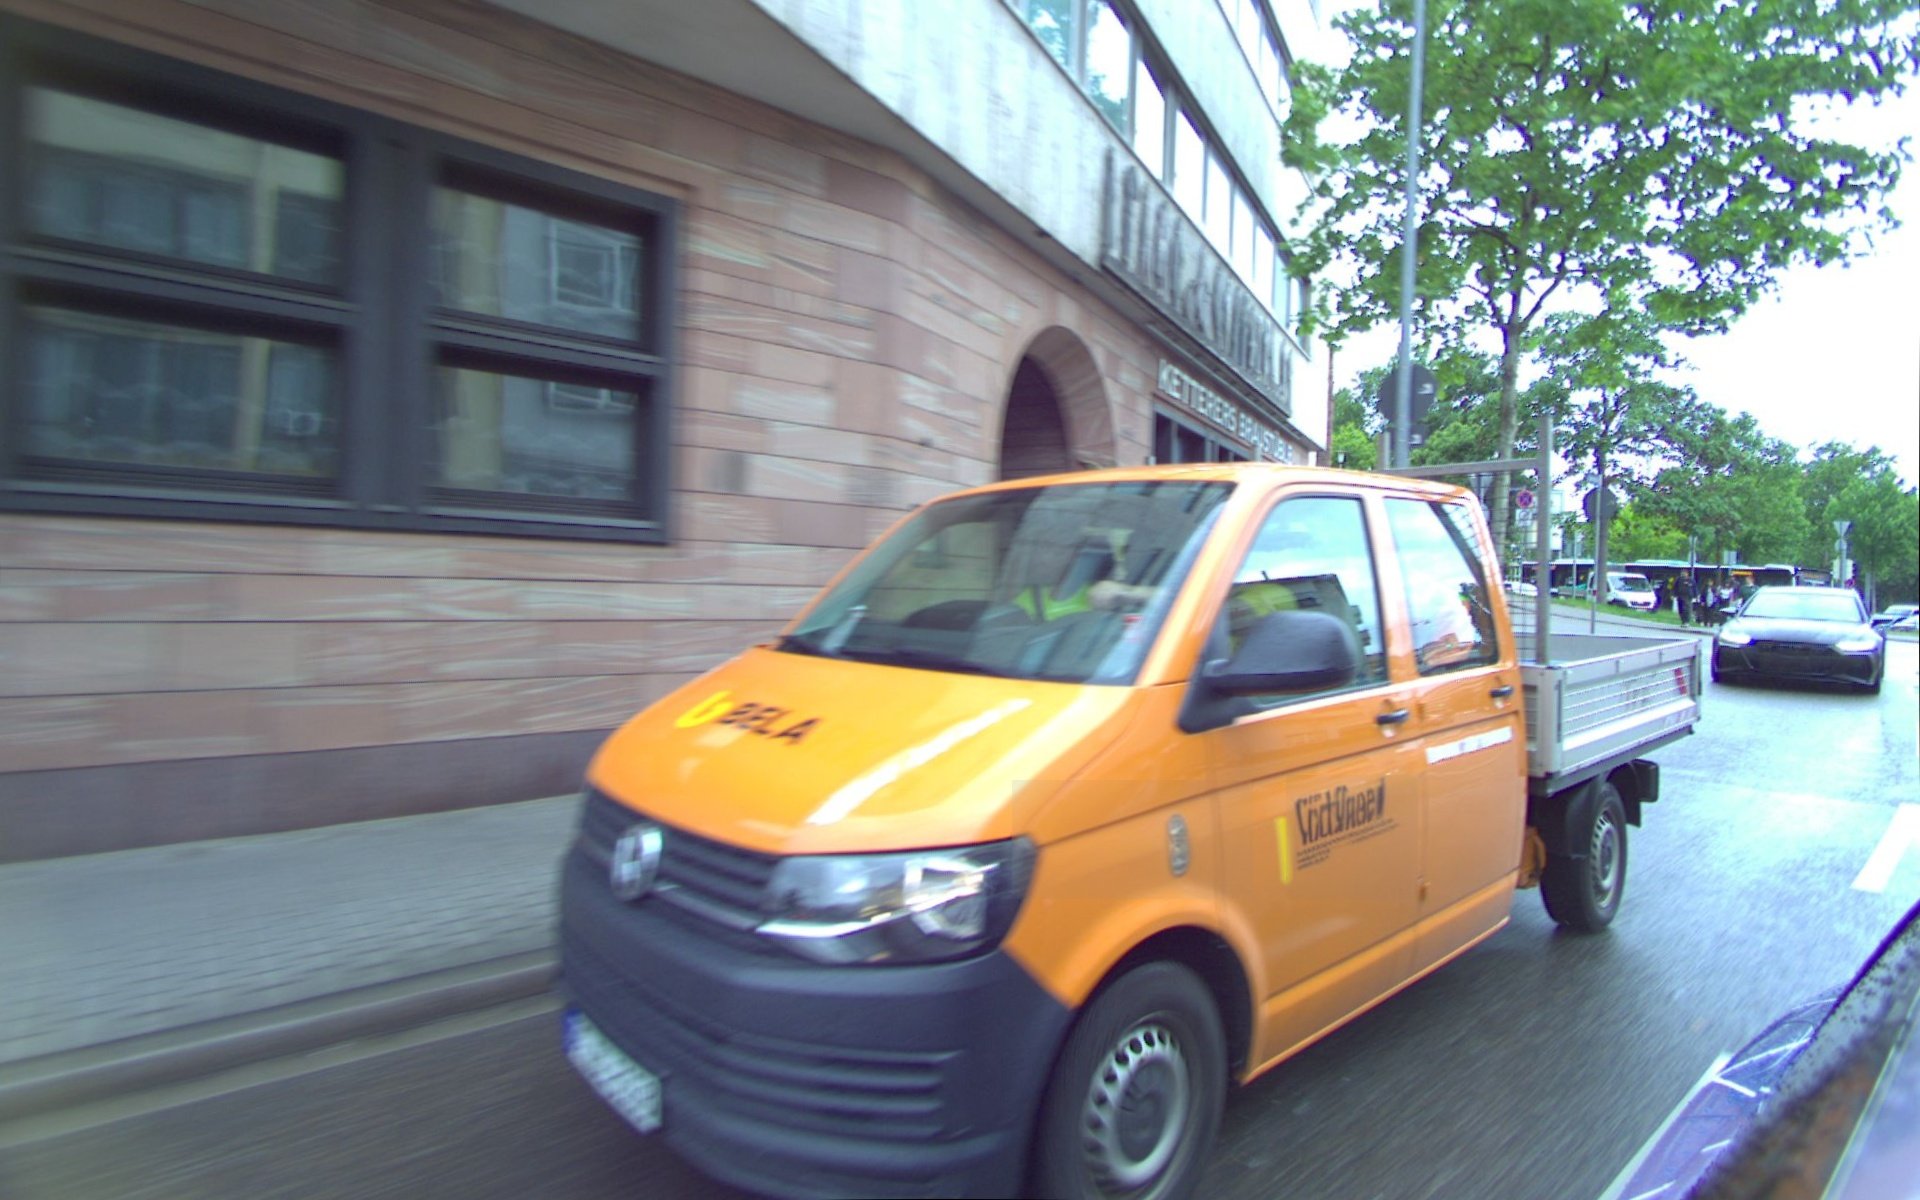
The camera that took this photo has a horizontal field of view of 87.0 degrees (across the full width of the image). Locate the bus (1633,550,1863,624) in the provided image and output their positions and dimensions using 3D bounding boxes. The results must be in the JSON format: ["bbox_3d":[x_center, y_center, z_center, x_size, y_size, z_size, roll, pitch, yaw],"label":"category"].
[{"bbox_3d":[39.471,-0.823,51.370,2.649,3.255,9.681,3,2,-11],"label":"bus"}]

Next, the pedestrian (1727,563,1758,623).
[{"bbox_3d":[27.679,-0.249,35.790,0.583,2.038,0.780,4,2,26],"label":"pedestrian"}]

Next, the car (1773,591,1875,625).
[{"bbox_3d":[42.828,0.355,50.236,1.557,1.469,3.576,3,1,-11],"label":"car"}]

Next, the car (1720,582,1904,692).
[{"bbox_3d":[13.408,0.474,15.833,1.892,1.422,4.292,3,2,44],"label":"car"}]

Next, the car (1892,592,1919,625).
[{"bbox_3d":[72.859,0.720,75.898,4.907,2.348,1.978,3,2,-15],"label":"car"}]

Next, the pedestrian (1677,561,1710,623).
[{"bbox_3d":[21.303,-0.248,29.404,0.569,1.705,0.952,6,6,34],"label":"pedestrian"}]

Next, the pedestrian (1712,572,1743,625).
[{"bbox_3d":[24.632,-0.064,32.483,0.598,1.618,0.699,6,4,32],"label":"pedestrian"}]

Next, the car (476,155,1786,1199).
[{"bbox_3d":[1.247,0.315,4.111,5.441,2.114,2.108,0,4,-39],"label":"car"}]

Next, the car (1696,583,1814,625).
[{"bbox_3d":[31.569,0.119,40.354,1.765,1.390,4.089,2,3,8],"label":"car"}]

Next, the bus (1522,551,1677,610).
[{"bbox_3d":[37.865,-1.267,60.406,2.632,3.219,8.578,1,2,-10],"label":"bus"}]

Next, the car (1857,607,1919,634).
[{"bbox_3d":[57.041,1.245,61.311,4.173,1.458,1.861,2,1,-12],"label":"car"}]

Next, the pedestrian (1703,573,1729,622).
[{"bbox_3d":[27.023,-0.090,36.178,0.554,1.726,0.523,5,2,31],"label":"pedestrian"}]

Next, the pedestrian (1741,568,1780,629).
[{"bbox_3d":[25.382,-0.064,32.104,0.737,1.852,0.687,6,4,30],"label":"pedestrian"}]

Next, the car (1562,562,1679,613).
[{"bbox_3d":[32.899,-0.715,50.719,2.217,2.261,6.332,2,3,7],"label":"car"}]
